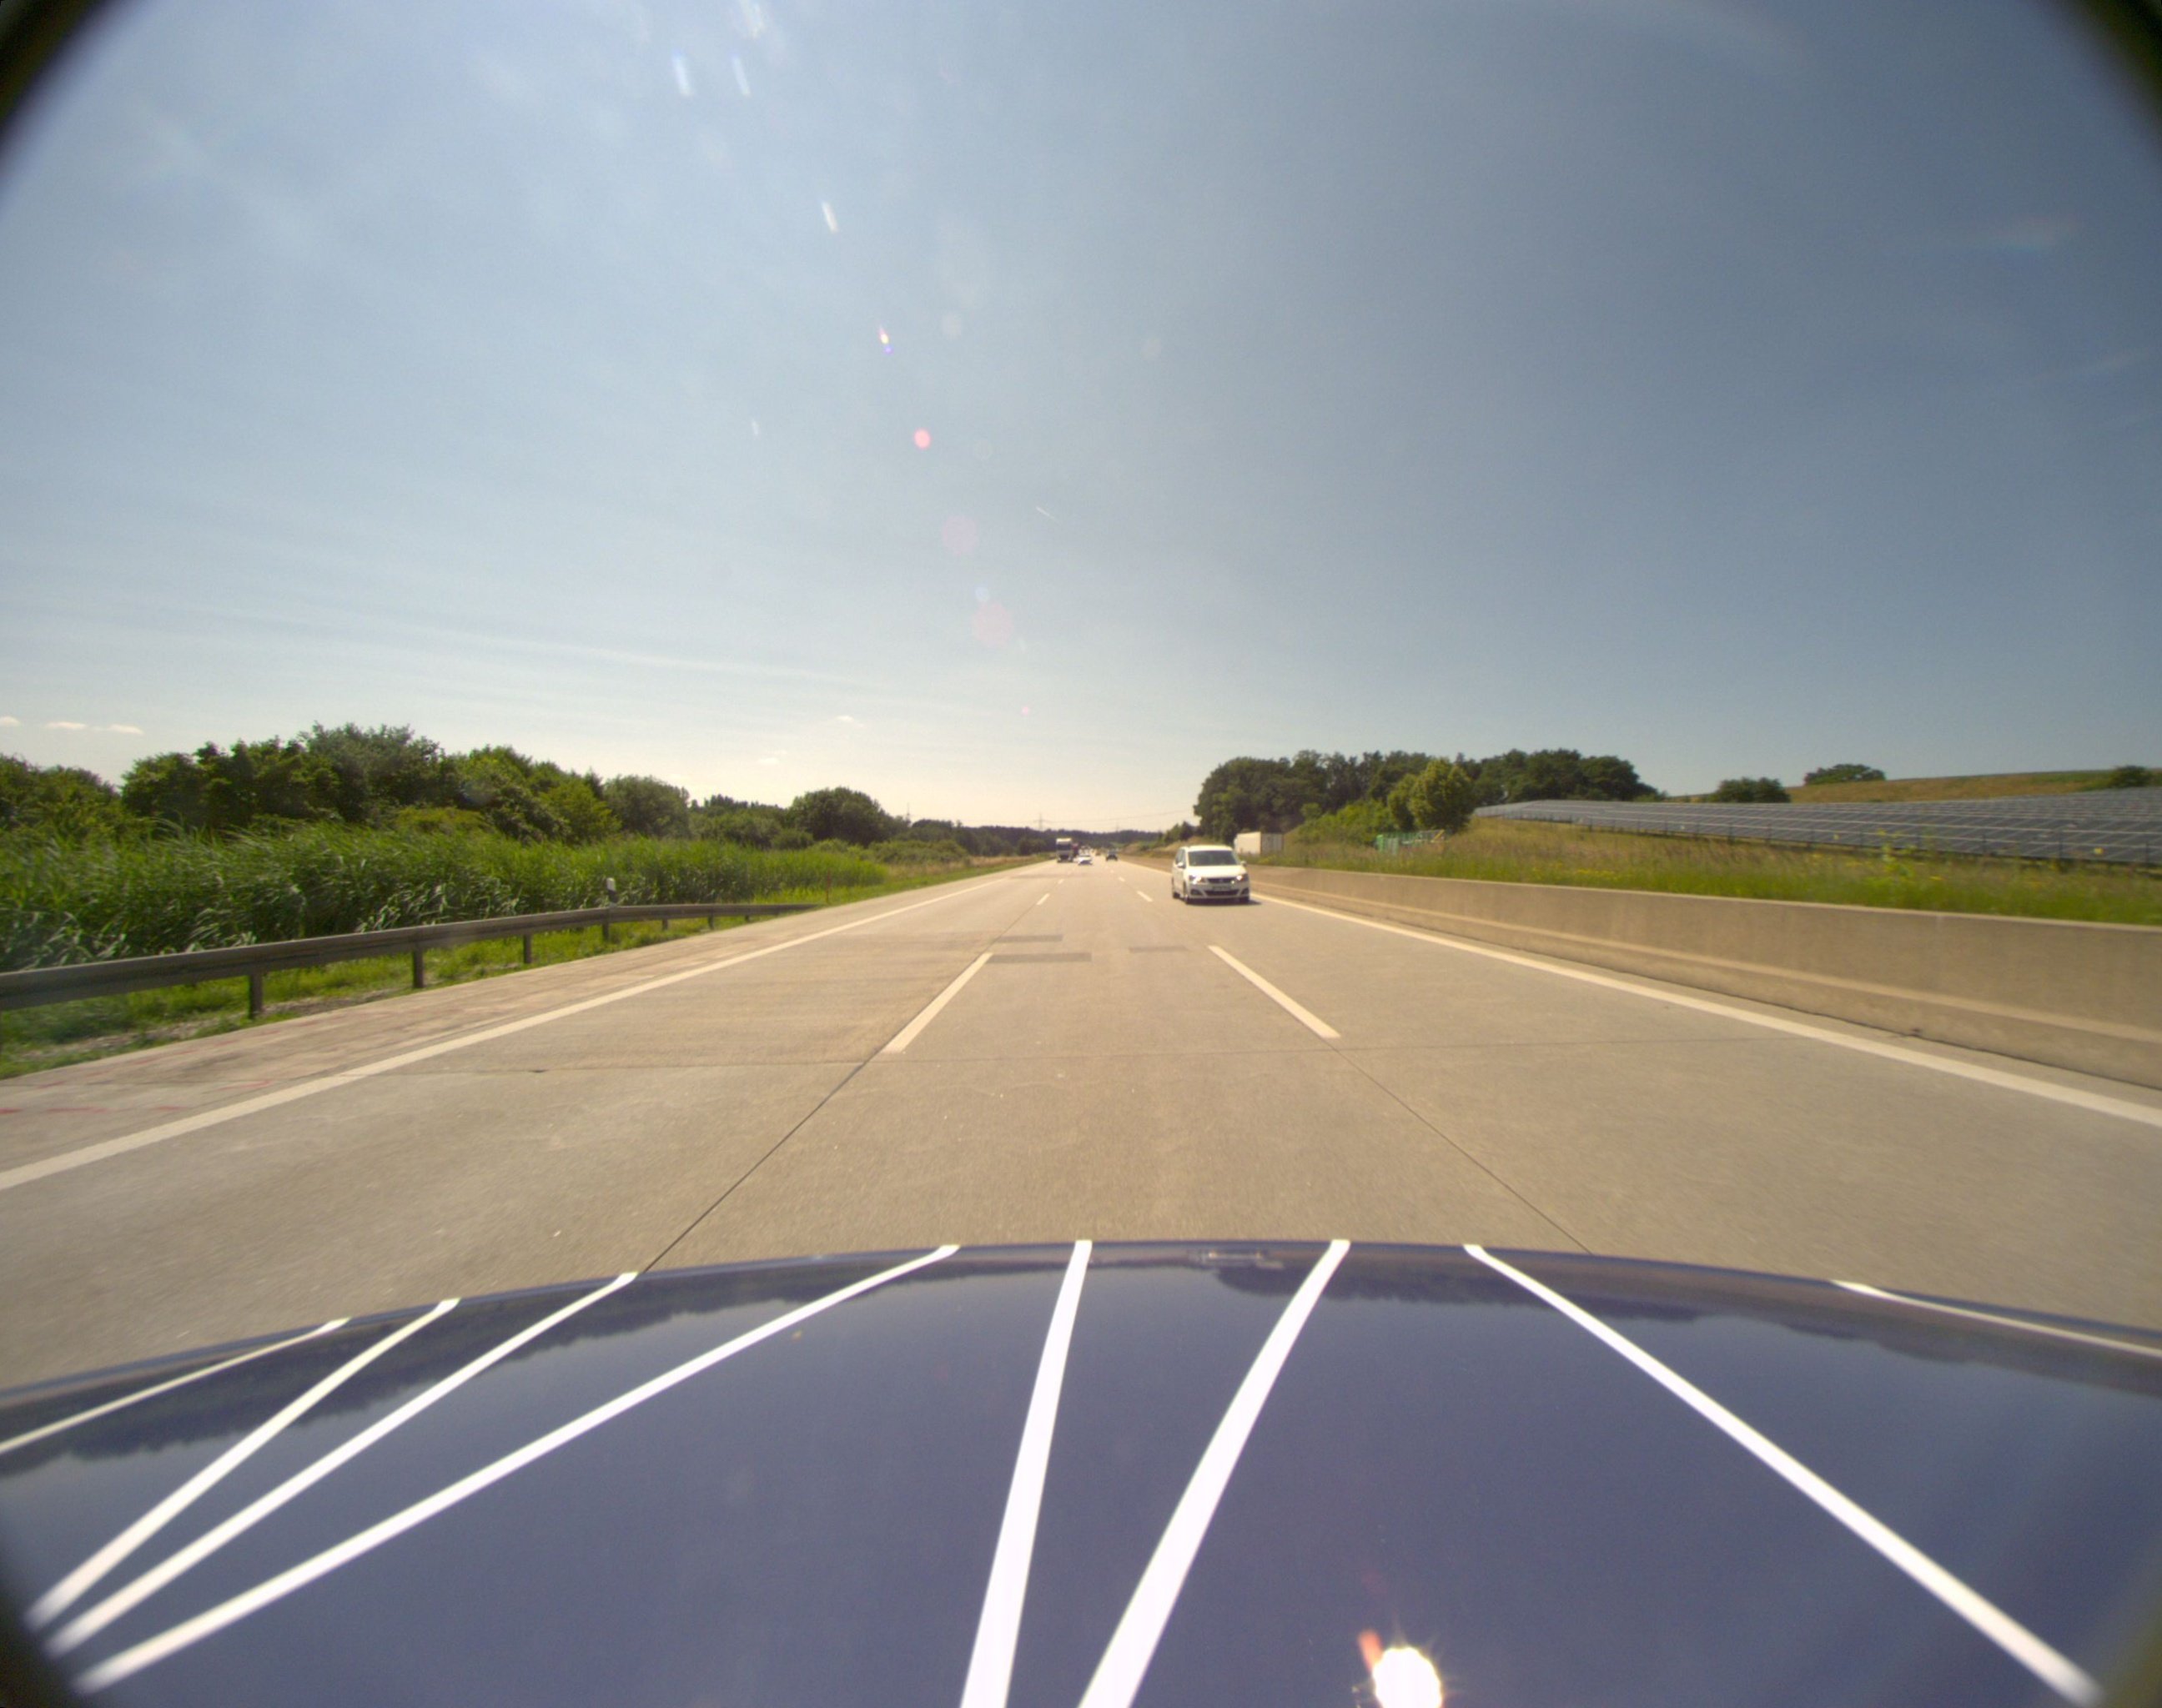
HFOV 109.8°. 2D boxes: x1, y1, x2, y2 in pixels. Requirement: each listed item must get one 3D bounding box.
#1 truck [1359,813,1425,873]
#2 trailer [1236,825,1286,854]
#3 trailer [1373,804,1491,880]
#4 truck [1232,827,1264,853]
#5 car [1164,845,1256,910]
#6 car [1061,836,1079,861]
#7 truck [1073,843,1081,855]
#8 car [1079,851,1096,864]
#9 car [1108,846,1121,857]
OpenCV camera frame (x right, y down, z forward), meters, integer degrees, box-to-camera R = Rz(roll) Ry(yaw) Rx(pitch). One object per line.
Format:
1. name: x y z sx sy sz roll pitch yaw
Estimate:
1. truck: 21.706 -0.732 53.244 2.752 3.928 4.352 -2 1 1
2. trailer: 21.748 -1.755 92.887 2.839 3.165 14.504 -2 1 1
3. trailer: 21.607 -0.703 47.602 2.739 4.167 10.256 -1 0 1
4. truck: 21.855 -1.848 99.607 2.840 3.139 5.826 -2 1 1
5. car: 3.847 0.606 23.746 1.850 1.698 6.035 -2 1 1
6. car: -1.826 -1.008 130.106 2.766 4.029 10.851 -1 1 1
7. truck: -1.114 -1.477 220.575 2.351 3.474 5.245 -1 1 0
8. car: 0.904 0.440 99.379 2.065 1.472 5.068 -4 0 0
9. car: 5.829 -0.483 132.910 1.998 1.836 6.529 -3 1 1
